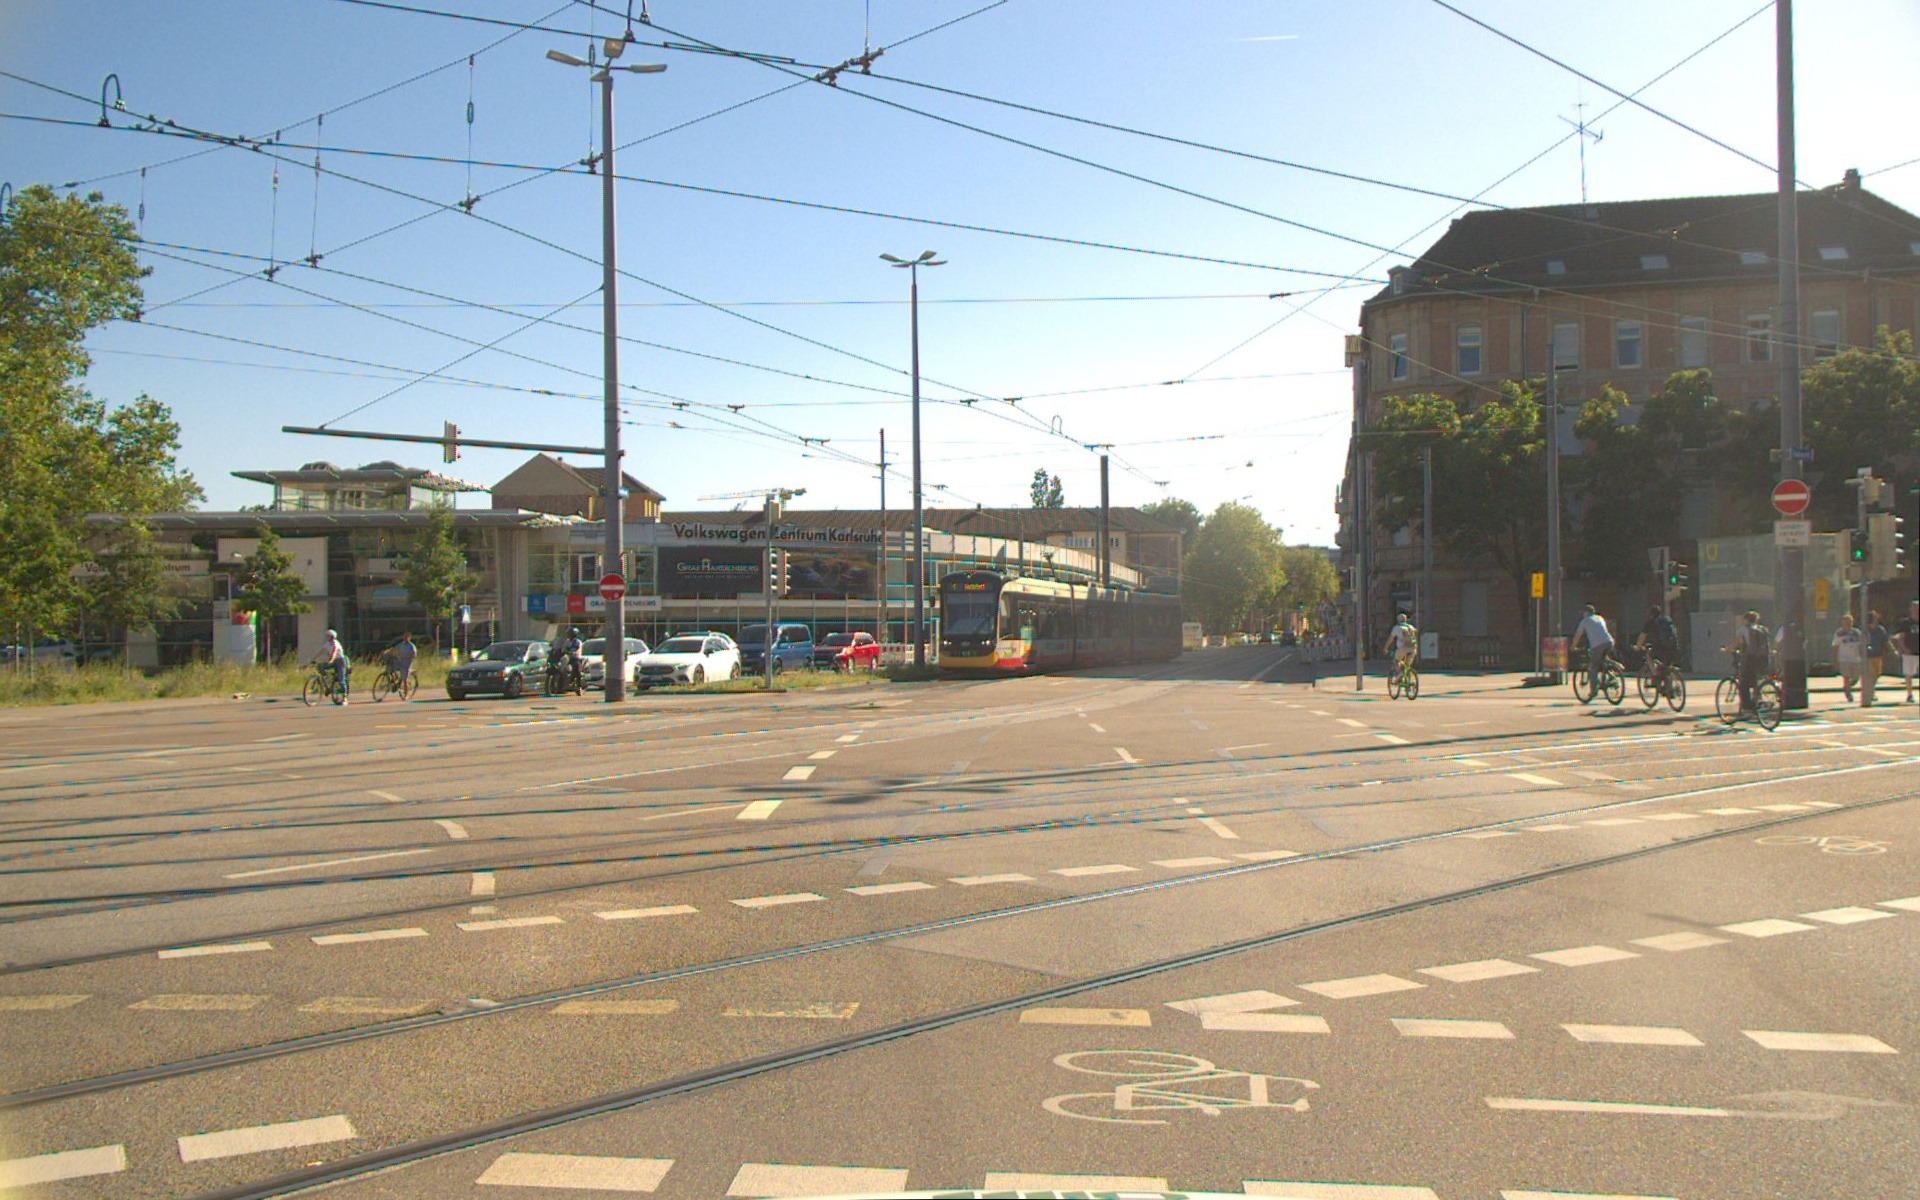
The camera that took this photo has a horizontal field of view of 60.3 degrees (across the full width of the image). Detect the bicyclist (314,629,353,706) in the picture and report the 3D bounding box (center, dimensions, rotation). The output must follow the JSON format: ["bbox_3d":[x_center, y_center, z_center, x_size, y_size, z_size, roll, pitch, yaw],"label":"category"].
[{"bbox_3d":[-14.877,1.589,39.259,0.562,1.773,0.678,1,0,14],"label":"bicyclist"}]

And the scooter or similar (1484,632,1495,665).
[{"bbox_3d":[19.560,1.799,61.095,0.264,1.206,1.566,1,-2,13],"label":"scooter or similar"}]

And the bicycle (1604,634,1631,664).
[{"bbox_3d":[23.953,1.792,60.294,0.395,1.080,1.351,1,-2,-2],"label":"bicycle"}]

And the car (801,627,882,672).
[{"bbox_3d":[-4.766,2.013,67.156,1.761,1.749,4.418,-2,-2,18],"label":"car"}]

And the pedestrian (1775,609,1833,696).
[{"bbox_3d":[16.038,0.989,31.449,0.724,1.624,0.790,1,-2,2],"label":"pedestrian"}]

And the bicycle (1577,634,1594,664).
[{"bbox_3d":[22.909,1.800,60.576,0.394,1.080,1.353,1,-2,13],"label":"bicycle"}]

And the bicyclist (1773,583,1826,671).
[{"bbox_3d":[16.074,0.520,31.680,0.585,1.642,0.953,1,-2,4],"label":"bicyclist"}]

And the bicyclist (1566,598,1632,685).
[{"bbox_3d":[12.161,0.780,31.483,0.770,1.621,0.881,0,-2,-16],"label":"bicyclist"}]

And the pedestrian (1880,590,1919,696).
[{"bbox_3d":[18.032,0.809,31.172,0.911,1.963,1.049,1,-2,9],"label":"pedestrian"}]

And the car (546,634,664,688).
[{"bbox_3d":[-10.193,1.746,47.750,1.764,1.457,4.003,1,-2,13],"label":"car"}]

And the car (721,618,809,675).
[{"bbox_3d":[-7.013,1.681,59.904,1.764,1.967,4.167,-2,-2,15],"label":"car"}]

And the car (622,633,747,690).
[{"bbox_3d":[-7.585,1.685,46.010,1.764,1.457,4.544,1,-2,13],"label":"car"}]

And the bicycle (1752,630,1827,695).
[{"bbox_3d":[15.825,1.183,31.603,0.520,1.137,1.934,1,0,2],"label":"bicycle"}]

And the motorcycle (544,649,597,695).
[{"bbox_3d":[-9.650,1.774,41.051,0.507,1.065,1.748,-2,-1,14],"label":"motorcycle"}]

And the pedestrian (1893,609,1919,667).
[{"bbox_3d":[31.119,1.238,54.338,0.641,1.881,0.541,2,-2,-30],"label":"pedestrian"}]

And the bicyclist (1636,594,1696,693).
[{"bbox_3d":[12.023,0.739,28.197,0.610,1.642,0.981,1,-2,0],"label":"bicyclist"}]

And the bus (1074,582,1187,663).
[{"bbox_3d":[8.434,1.139,80.208,2.782,3.653,11.272,-1,-1,20],"label":"bus"}]

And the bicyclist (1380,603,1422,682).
[{"bbox_3d":[9.812,0.942,36.832,0.667,1.713,1.120,1,-2,3],"label":"bicyclist"}]

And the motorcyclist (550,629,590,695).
[{"bbox_3d":[-9.680,1.534,41.064,0.573,1.607,0.944,-2,-2,14],"label":"motorcyclist"}]

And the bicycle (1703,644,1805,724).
[{"bbox_3d":[11.704,1.217,24.435,0.521,1.137,1.932,1,-2,-2],"label":"bicycle"}]

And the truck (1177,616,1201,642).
[{"bbox_3d":[26.115,3.335,188.407,2.484,2.880,6.381,1,-2,9],"label":"truck"}]

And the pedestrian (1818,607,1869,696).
[{"bbox_3d":[17.231,1.002,32.257,0.645,1.706,0.824,1,-2,9],"label":"pedestrian"}]

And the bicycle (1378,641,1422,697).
[{"bbox_3d":[9.823,1.531,36.997,0.520,1.137,1.934,1,0,2],"label":"bicycle"}]

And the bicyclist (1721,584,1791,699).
[{"bbox_3d":[11.720,0.612,24.383,0.539,1.642,0.952,1,-2,-3],"label":"bicyclist"}]

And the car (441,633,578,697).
[{"bbox_3d":[-11.310,1.616,41.748,1.614,1.505,3.973,-2,-2,13],"label":"car"}]

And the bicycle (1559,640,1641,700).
[{"bbox_3d":[12.159,1.322,31.468,0.380,1.088,1.926,-1,-2,-15],"label":"bicycle"}]

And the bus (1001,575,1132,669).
[{"bbox_3d":[4.673,0.963,69.743,2.781,3.653,10.728,-1,-1,19],"label":"bus"}]

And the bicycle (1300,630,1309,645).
[{"bbox_3d":[25.766,2.791,123.764,0.666,1.134,2.709,1,-1,12],"label":"bicycle"}]

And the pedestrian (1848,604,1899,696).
[{"bbox_3d":[18.159,0.995,32.881,0.645,1.788,0.824,1,-2,9],"label":"pedestrian"}]

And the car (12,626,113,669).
[{"bbox_3d":[-44.763,2.354,82.561,3.911,2.049,1.997,1,-2,-7],"label":"car"}]

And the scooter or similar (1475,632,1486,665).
[{"bbox_3d":[19.256,1.794,61.155,0.264,1.206,1.566,1,-2,13],"label":"scooter or similar"}]

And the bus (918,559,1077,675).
[{"bbox_3d":[1.635,0.663,58.751,2.780,3.653,13.505,0,-1,14],"label":"bus"}]

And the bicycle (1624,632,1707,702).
[{"bbox_3d":[12.010,1.140,28.202,0.521,1.137,1.933,0,-2,-1],"label":"bicycle"}]

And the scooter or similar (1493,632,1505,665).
[{"bbox_3d":[19.874,1.783,61.015,0.264,1.217,1.566,1,-2,13],"label":"scooter or similar"}]

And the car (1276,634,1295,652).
[{"bbox_3d":[36.776,4.864,187.022,1.951,2.049,4.003,1,-2,13],"label":"car"}]

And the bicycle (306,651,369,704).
[{"bbox_3d":[-14.830,1.835,39.442,0.526,1.205,1.755,-1,-1,13],"label":"bicycle"}]

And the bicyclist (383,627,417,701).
[{"bbox_3d":[-13.839,1.571,40.884,0.562,1.773,0.602,1,0,13],"label":"bicyclist"}]

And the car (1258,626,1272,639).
[{"bbox_3d":[43.235,4.638,234.413,1.721,1.727,4.146,1,-2,14],"label":"car"}]

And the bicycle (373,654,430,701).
[{"bbox_3d":[-13.823,1.902,40.994,0.526,1.092,1.656,-1,-1,13],"label":"bicycle"}]

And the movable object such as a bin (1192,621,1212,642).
[{"bbox_3d":[32.051,4.167,218.870,2.442,2.692,5.993,1,-1,10],"label":"movable object such as a bin"}]
